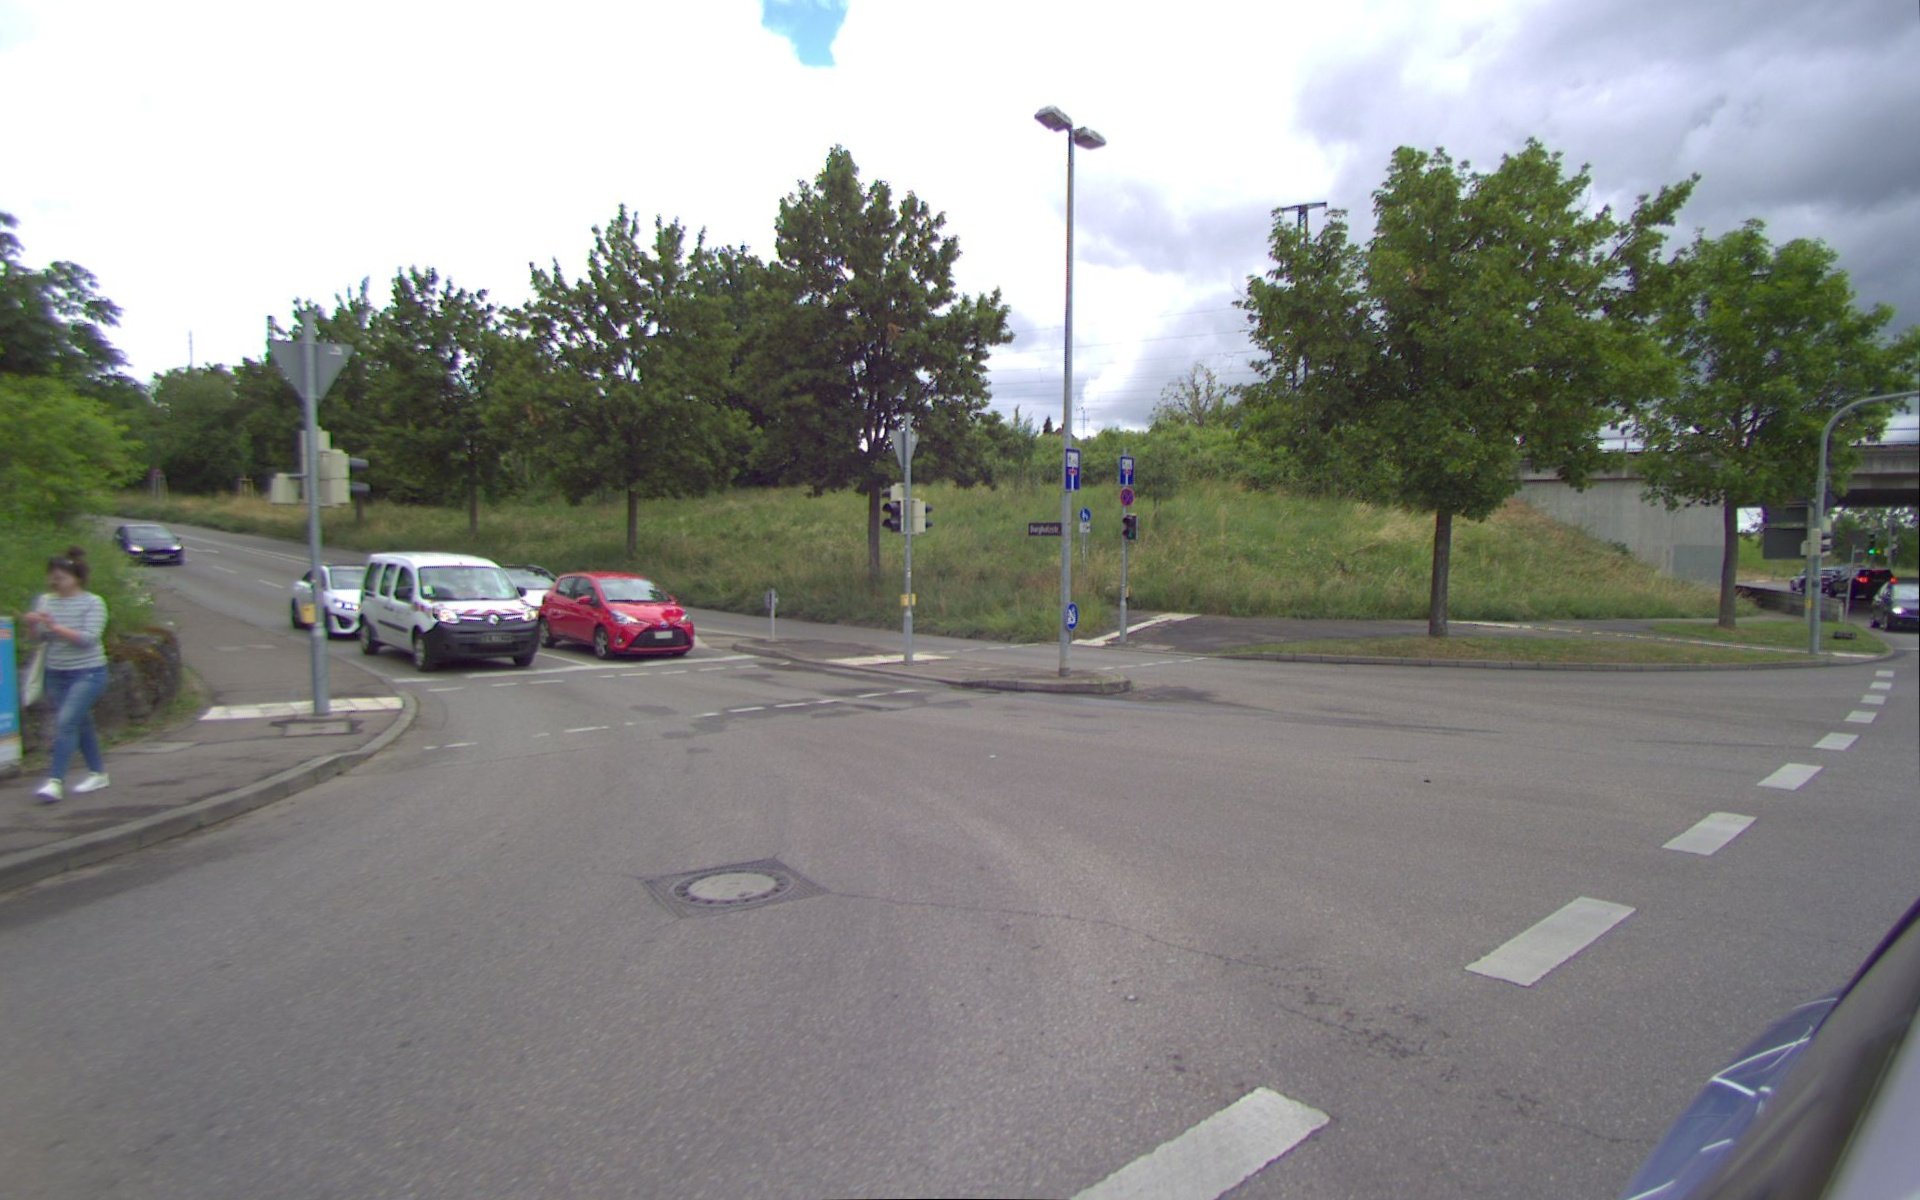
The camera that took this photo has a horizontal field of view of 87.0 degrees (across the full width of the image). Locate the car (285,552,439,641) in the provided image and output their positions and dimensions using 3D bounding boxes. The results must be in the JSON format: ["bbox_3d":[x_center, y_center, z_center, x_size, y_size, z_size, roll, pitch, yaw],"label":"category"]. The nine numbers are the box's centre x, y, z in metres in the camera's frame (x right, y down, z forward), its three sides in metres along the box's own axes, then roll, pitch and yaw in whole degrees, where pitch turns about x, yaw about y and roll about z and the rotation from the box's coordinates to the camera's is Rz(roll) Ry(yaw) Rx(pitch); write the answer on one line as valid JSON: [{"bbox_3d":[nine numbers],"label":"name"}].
[{"bbox_3d":[-12.761,-0.161,21.507,1.935,1.472,3.825,-2,7,-45],"label":"car"}]

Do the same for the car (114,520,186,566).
[{"bbox_3d":[-30.784,-2.176,38.415,1.732,1.471,3.826,-2,7,-45],"label":"car"}]

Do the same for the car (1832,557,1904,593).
[{"bbox_3d":[48.170,-1.329,53.797,1.948,1.813,3.961,0,1,28],"label":"car"}]

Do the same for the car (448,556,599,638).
[{"bbox_3d":[-10.085,-0.159,23.230,1.732,1.472,4.304,-2,6,-45],"label":"car"}]

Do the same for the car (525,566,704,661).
[{"bbox_3d":[-6.614,0.156,19.174,1.732,1.514,3.823,-2,4,-45],"label":"car"}]

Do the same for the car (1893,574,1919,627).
[{"bbox_3d":[30.680,-0.022,31.868,1.752,1.560,3.942,0,2,41],"label":"car"}]

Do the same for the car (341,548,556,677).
[{"bbox_3d":[-8.843,0.076,17.297,1.921,1.822,4.712,-2,4,-45],"label":"car"}]

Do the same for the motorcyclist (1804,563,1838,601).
[{"bbox_3d":[38.121,-0.800,44.819,0.875,1.625,1.232,0,1,27],"label":"motorcyclist"}]

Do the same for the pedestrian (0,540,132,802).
[{"bbox_3d":[-5.926,0.431,6.668,0.568,1.628,0.625,-1,1,-26],"label":"pedestrian"}]

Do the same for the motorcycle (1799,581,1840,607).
[{"bbox_3d":[38.200,-0.293,44.998,0.874,1.118,2.338,0,1,27],"label":"motorcycle"}]

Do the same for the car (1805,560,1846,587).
[{"bbox_3d":[52.641,-1.620,61.598,1.751,1.533,3.834,0,2,39],"label":"car"}]
